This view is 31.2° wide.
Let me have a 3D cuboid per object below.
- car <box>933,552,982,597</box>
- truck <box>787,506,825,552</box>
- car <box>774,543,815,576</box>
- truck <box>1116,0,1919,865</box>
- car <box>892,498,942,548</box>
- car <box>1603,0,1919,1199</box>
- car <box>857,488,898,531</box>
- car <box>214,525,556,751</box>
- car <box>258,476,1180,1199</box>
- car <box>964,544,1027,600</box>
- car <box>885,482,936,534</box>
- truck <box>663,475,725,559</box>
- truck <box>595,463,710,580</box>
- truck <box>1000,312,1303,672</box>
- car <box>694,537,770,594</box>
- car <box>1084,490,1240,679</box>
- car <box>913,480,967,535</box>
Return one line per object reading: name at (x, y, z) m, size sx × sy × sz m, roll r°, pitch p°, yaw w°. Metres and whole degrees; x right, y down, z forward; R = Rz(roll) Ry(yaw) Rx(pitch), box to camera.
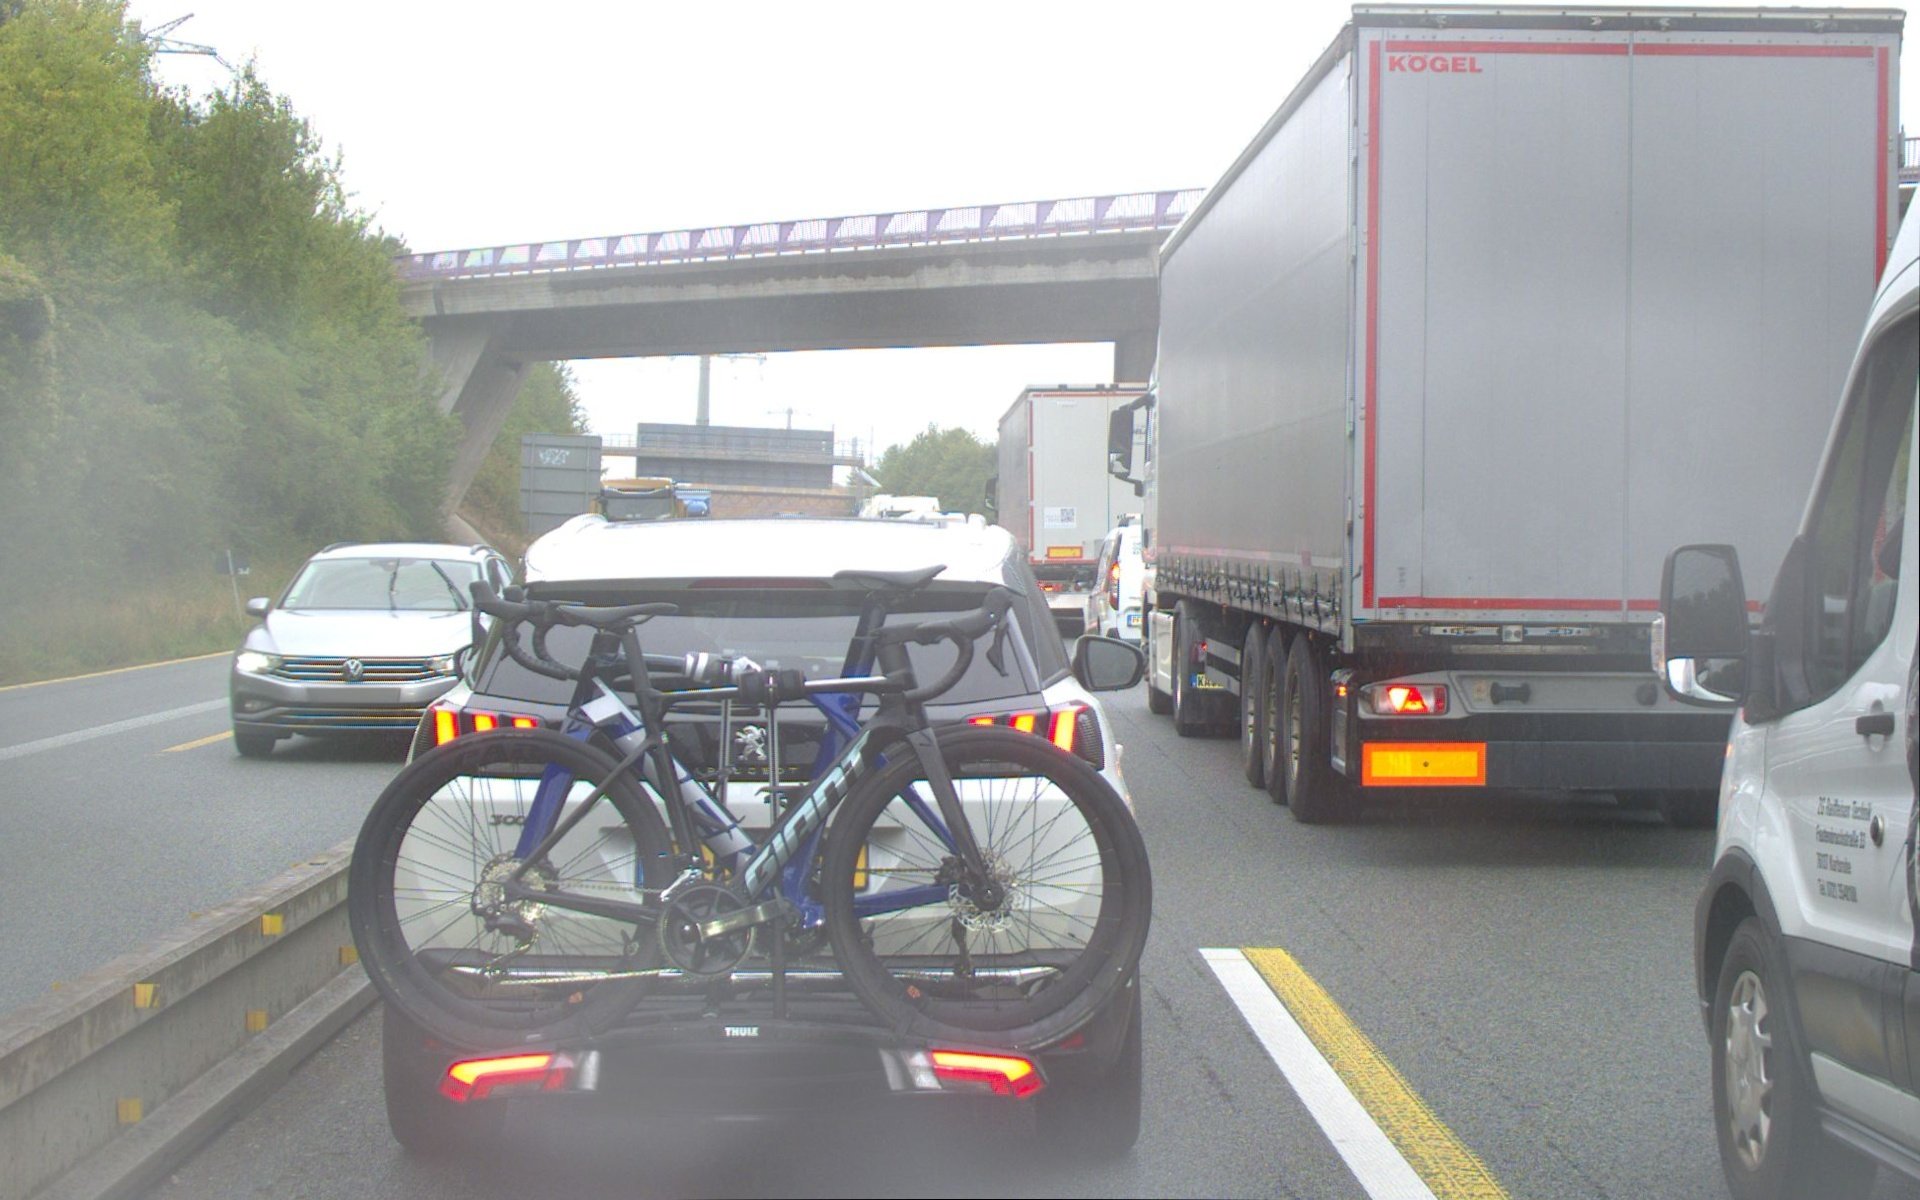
car at (-0.093, -0.889, 118.463) m, size 1.638 × 1.492 × 3.666 m, roll 1°, pitch 1°, yaw 0°
truck at (-11.750, -5.407, 262.996) m, size 2.535 × 3.341 × 12.051 m, roll 1°, pitch 1°, yaw -1°
car at (-7.101, -1.738, 147.600) m, size 1.686 × 1.404 × 3.930 m, roll 1°, pitch 1°, yaw -2°
truck at (3.629, -1.789, 25.104) m, size 3.979 × 5.654 × 20.376 m, roll 1°, pitch 1°, yaw 0°
car at (-1.782, -3.204, 143.873) m, size 1.993 × 2.007 × 4.000 m, roll 1°, pitch 1°, yaw 0°
car at (2.751, 0.050, 5.591) m, size 2.144 × 2.667 × 6.117 m, roll 1°, pitch 1°, yaw -1°
car at (-4.254, -4.687, 178.608) m, size 1.993 × 2.119 × 4.527 m, roll 1°, pitch 1°, yaw 0°
car at (-4.072, 0.231, 24.995) m, size 1.810 × 1.483 × 4.397 m, roll 1°, pitch 1°, yaw -1°
car at (-0.441, 0.556, 9.103) m, size 1.810 × 1.632 × 4.635 m, roll 1°, pitch 1°, yaw 1°
car at (0.941, -0.762, 93.049) m, size 1.638 × 1.492 × 3.666 m, roll 1°, pitch 1°, yaw 0°
car at (-2.224, -4.177, 156.949) m, size 2.239 × 2.299 × 4.572 m, roll 1°, pitch 1°, yaw 0°
truck at (-13.871, -4.192, 178.349) m, size 2.765 × 4.109 × 16.930 m, roll 1°, pitch 1°, yaw -6°
truck at (-10.113, -2.532, 114.084) m, size 2.681 × 3.644 × 12.312 m, roll 1°, pitch 1°, yaw 0°
truck at (3.196, -1.813, 64.567) m, size 4.743 × 5.654 × 20.376 m, roll 1°, pitch 1°, yaw 1°
car at (-5.982, -0.914, 90.609) m, size 1.779 × 1.438 × 4.328 m, roll 1°, pitch 1°, yaw -1°
car at (2.422, -0.201, 42.039) m, size 1.670 × 2.173 × 4.535 m, roll 1°, pitch 1°, yaw 1°
car at (-0.741, -3.519, 130.999) m, size 1.993 × 2.007 × 4.000 m, roll 1°, pitch 1°, yaw 0°
